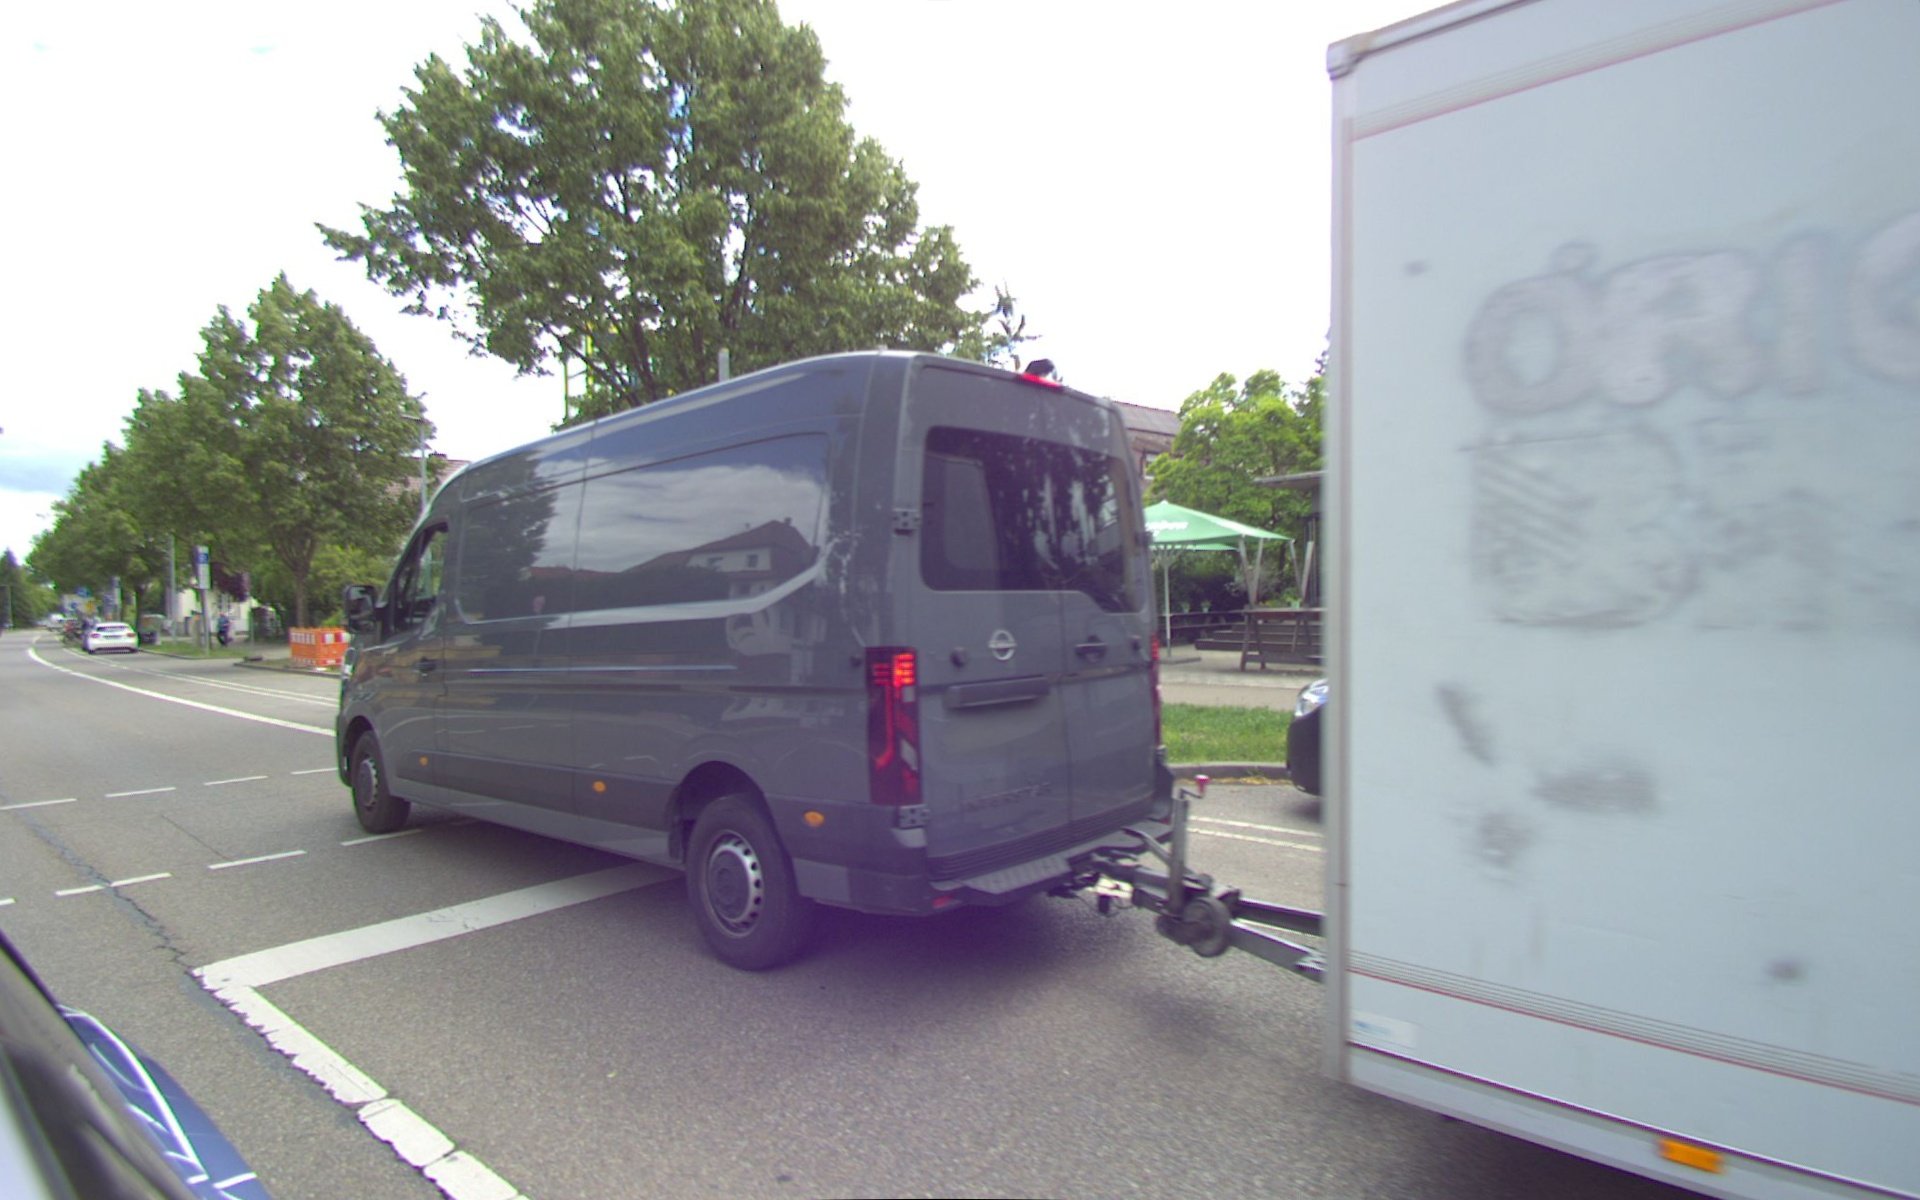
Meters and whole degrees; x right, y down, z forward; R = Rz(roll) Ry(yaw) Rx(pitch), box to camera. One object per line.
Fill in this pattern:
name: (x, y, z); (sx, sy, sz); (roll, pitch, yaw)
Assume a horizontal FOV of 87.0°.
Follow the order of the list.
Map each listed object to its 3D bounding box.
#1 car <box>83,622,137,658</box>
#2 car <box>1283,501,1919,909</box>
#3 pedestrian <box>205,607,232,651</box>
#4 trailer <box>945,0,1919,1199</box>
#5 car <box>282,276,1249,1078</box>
car: (-39.496, 1.823, 47.095); (1.863, 1.586, 4.007); (-1, -1, -39)
car: (4.354, 0.497, 5.875); (4.395, 1.888, 1.690); (-1, -1, 41)
pedestrian: (-35.031, 1.368, 47.804); (0.998, 2.029, 0.815); (-2, -1, 43)
trailer: (3.428, -0.055, 1.688); (6.865, 2.900, 2.608); (-2, -1, 40)
car: (-1.733, 0.290, 5.967); (6.307, 2.499, 2.039); (-1, -1, 40)
